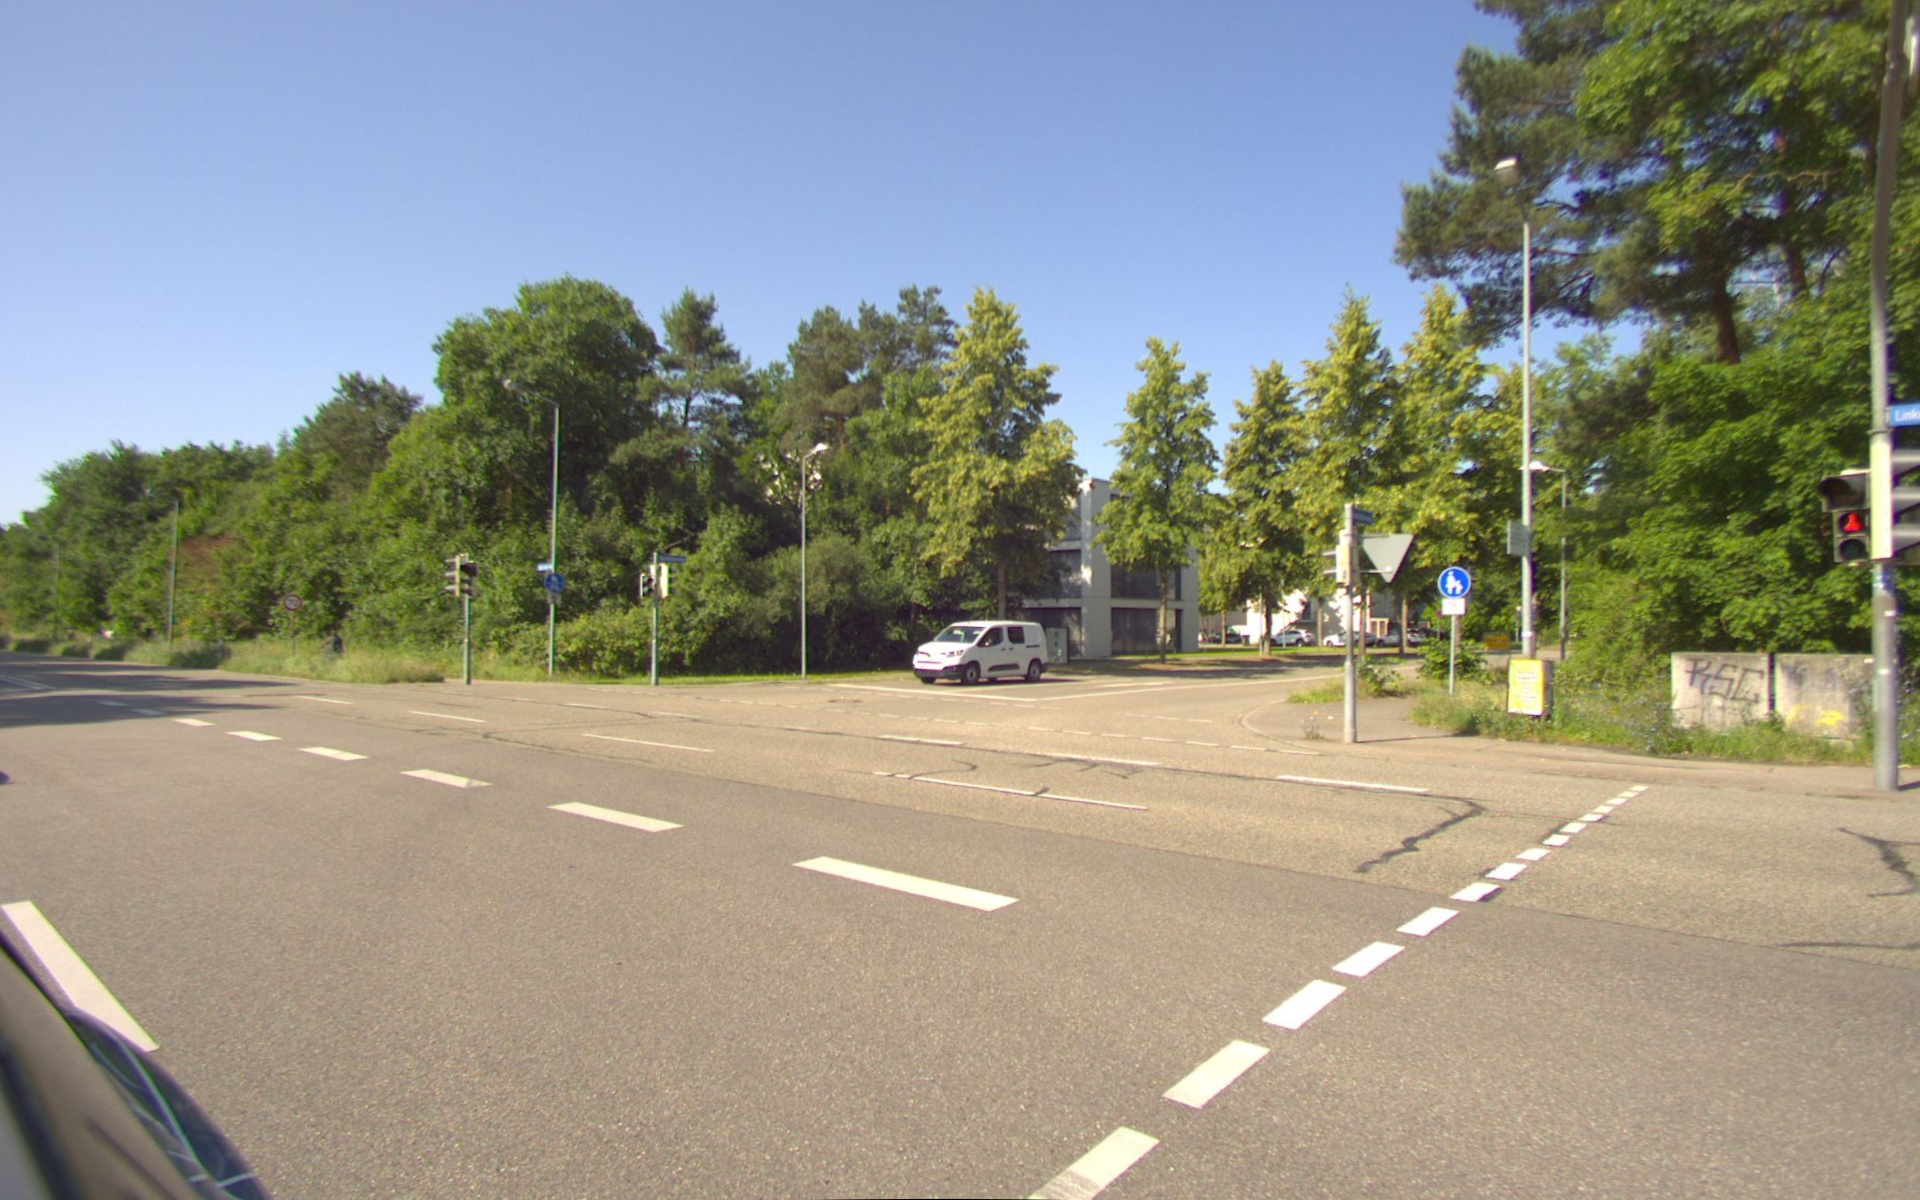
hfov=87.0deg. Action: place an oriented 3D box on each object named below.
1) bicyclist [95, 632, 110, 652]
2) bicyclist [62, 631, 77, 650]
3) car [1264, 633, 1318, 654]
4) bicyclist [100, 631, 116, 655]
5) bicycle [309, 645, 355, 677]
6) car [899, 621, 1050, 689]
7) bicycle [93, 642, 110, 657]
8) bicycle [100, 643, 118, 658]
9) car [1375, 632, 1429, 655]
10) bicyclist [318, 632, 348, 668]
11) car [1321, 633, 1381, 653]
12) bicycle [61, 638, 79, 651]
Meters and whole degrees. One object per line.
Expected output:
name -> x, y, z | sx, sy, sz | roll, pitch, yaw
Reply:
bicyclist -> -57.071, 2.802, 67.344 | 0.727, 1.273, 0.693 | -1, 0, 42
bicyclist -> -65.933, 3.004, 74.940 | 0.973, 1.352, 0.668 | -1, 0, 38
car -> 28.601, 3.746, 87.526 | 3.995, 1.741, 1.974 | -1, 0, 39
bicyclist -> -53.976, 2.696, 64.107 | 0.944, 1.477, 0.604 | -1, 0, 42
bicycle -> -23.636, 2.279, 38.083 | 2.370, 1.172, 0.725 | -2, -2, 39
car -> 0.507, 1.548, 29.181 | 1.851, 1.791, 4.598 | -1, -3, 40
bicycle -> -57.113, 3.314, 67.336 | 2.138, 0.965, 0.598 | -2, -2, 42
bicycle -> -53.909, 3.193, 64.085 | 2.138, 0.921, 0.598 | -2, -2, 42
car -> 34.591, 3.397, 79.340 | 1.572, 1.575, 3.719 | -1, 0, -26
bicyclist -> -23.575, 1.880, 38.043 | 0.882, 1.321, 0.714 | -2, -2, 38
car -> 32.168, 3.501, 83.421 | 1.749, 1.497, 4.281 | -1, 0, -40
bicycle -> -65.946, 3.290, 74.954 | 1.911, 0.963, 0.668 | -1, 0, 38
